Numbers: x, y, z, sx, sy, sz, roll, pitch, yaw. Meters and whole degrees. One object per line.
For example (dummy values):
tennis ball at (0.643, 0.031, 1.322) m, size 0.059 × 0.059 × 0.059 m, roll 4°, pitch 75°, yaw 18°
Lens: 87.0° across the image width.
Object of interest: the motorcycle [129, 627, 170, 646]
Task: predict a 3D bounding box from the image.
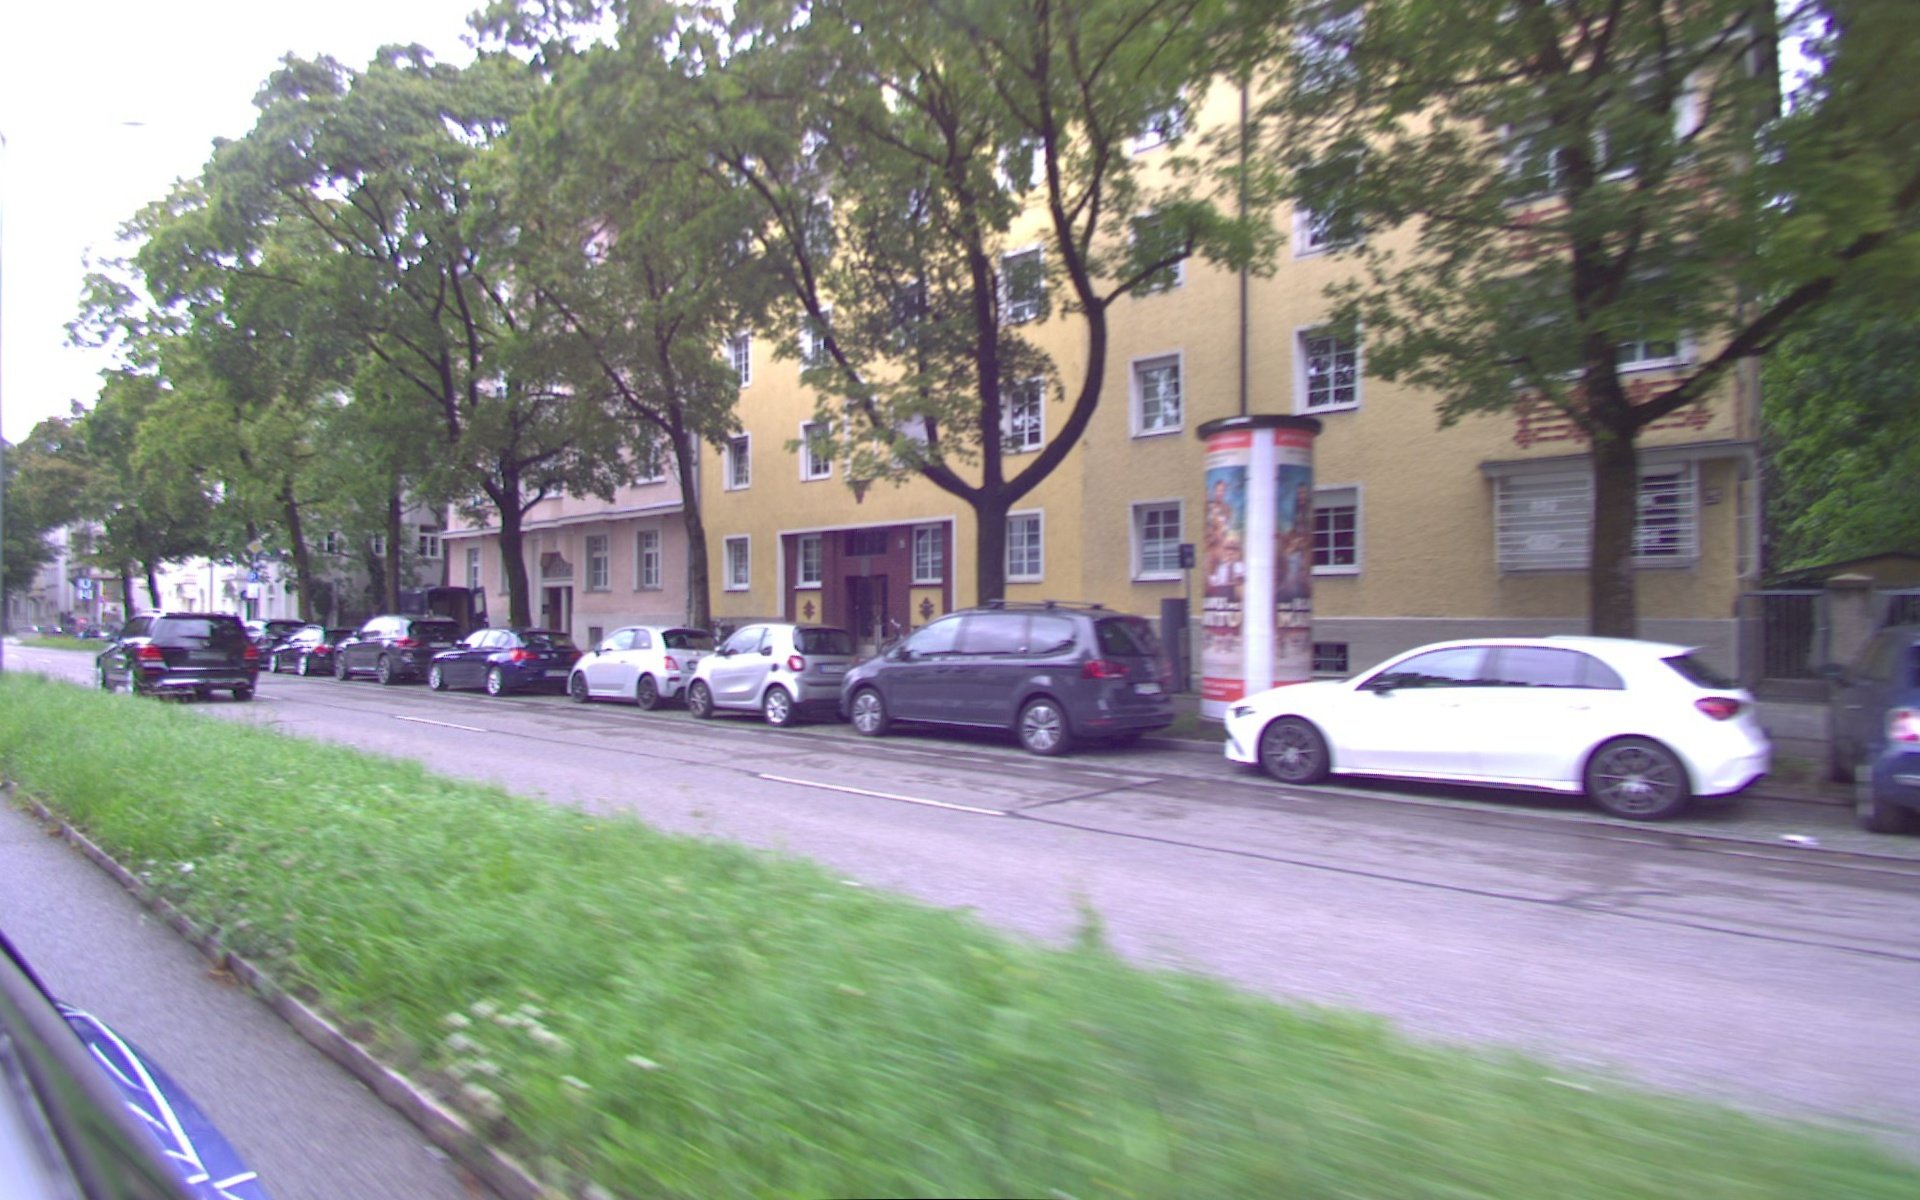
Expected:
motorcycle at (-50.575, 2.298, 63.169) m, size 1.926 × 1.158 × 0.597 m, roll 0°, pitch -1°, yaw -11°

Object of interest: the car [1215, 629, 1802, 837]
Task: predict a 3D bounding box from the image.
car at (4.725, 0.987, 9.154) m, size 4.401 × 1.413 × 1.709 m, roll -1°, pitch -1°, yaw 41°

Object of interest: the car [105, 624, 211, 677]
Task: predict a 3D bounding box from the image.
car at (-24.586, 1.528, 30.985) m, size 4.055 × 1.518 × 1.792 m, roll -1°, pitch -4°, yaw 41°

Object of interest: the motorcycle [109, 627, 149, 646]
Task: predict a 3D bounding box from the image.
motorcycle at (-53.513, 2.336, 65.184) m, size 1.924 × 1.158 × 0.598 m, roll 0°, pitch -1°, yaw -29°

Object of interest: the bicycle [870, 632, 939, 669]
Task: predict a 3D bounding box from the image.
bicycle at (-1.435, 1.264, 25.750) m, size 1.929 × 0.906 × 0.536 m, roll -1°, pitch -2°, yaw 41°

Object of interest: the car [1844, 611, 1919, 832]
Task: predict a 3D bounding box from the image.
car at (8.140, 0.823, 7.873) m, size 1.730 × 1.475 × 3.851 m, roll -1°, pitch -1°, yaw 39°

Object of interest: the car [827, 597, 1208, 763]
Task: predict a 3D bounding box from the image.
car at (0.566, 0.886, 12.892) m, size 4.764 × 1.741 × 1.791 m, roll -1°, pitch -2°, yaw 41°

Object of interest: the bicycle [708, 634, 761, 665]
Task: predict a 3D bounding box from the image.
bicycle at (-6.812, 1.473, 30.533) m, size 1.929 × 0.906 × 0.536 m, roll -1°, pitch -2°, yaw 41°

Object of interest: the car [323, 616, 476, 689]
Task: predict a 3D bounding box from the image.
car at (-14.094, 1.252, 25.341) m, size 4.767 × 1.658 × 1.859 m, roll -1°, pitch -1°, yaw 41°

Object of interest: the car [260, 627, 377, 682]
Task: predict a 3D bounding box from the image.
car at (-18.653, 1.514, 29.342) m, size 4.490 × 1.465 × 1.675 m, roll -1°, pitch -1°, yaw 41°

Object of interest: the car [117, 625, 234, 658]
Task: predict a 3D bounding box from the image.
car at (-36.046, 1.908, 46.604) m, size 3.930 × 1.386 × 1.868 m, roll -1°, pitch -2°, yaw -24°

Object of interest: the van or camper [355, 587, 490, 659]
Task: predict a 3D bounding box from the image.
van or camper at (-20.937, 0.887, 39.246) m, size 6.847 × 2.599 × 2.321 m, roll -1°, pitch -1°, yaw 41°

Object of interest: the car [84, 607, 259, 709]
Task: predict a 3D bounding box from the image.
car at (-14.865, 1.038, 18.999) m, size 4.366 × 1.692 × 1.751 m, roll -1°, pitch -3°, yaw 41°

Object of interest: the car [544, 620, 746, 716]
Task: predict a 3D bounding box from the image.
car at (-5.901, 1.173, 18.734) m, size 4.055 × 1.573 × 1.709 m, roll -1°, pitch -1°, yaw 41°

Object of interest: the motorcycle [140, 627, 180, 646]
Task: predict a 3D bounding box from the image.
motorcycle at (-50.818, 2.303, 64.272) m, size 1.926 × 1.158 × 0.597 m, roll 0°, pitch -1°, yaw -11°

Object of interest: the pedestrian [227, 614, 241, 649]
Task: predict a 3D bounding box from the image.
pedestrian at (-43.099, 1.865, 60.079) m, size 0.590 × 2.075 × 0.686 m, roll 0°, pitch -1°, yaw -30°

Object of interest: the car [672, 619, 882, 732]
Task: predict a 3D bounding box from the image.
car at (-2.893, 1.103, 15.850) m, size 3.007 × 1.569 × 1.710 m, roll -1°, pitch -1°, yaw 39°

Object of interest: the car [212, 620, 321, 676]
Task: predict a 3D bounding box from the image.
car at (-22.516, 1.506, 32.804) m, size 4.436 × 1.699 × 1.854 m, roll -1°, pitch -1°, yaw 41°

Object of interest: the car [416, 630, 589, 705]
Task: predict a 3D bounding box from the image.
car at (-9.810, 1.356, 21.563) m, size 4.361 × 1.416 × 1.709 m, roll -1°, pitch -1°, yaw 41°

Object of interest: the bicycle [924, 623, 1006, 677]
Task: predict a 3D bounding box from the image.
bicycle at (0.101, 1.158, 24.008) m, size 1.929 × 1.231 × 0.762 m, roll -1°, pitch -2°, yaw 41°

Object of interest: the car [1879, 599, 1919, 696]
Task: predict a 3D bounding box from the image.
car at (16.722, 0.748, 16.921) m, size 1.756 × 1.521 × 3.851 m, roll -1°, pitch -1°, yaw 39°
